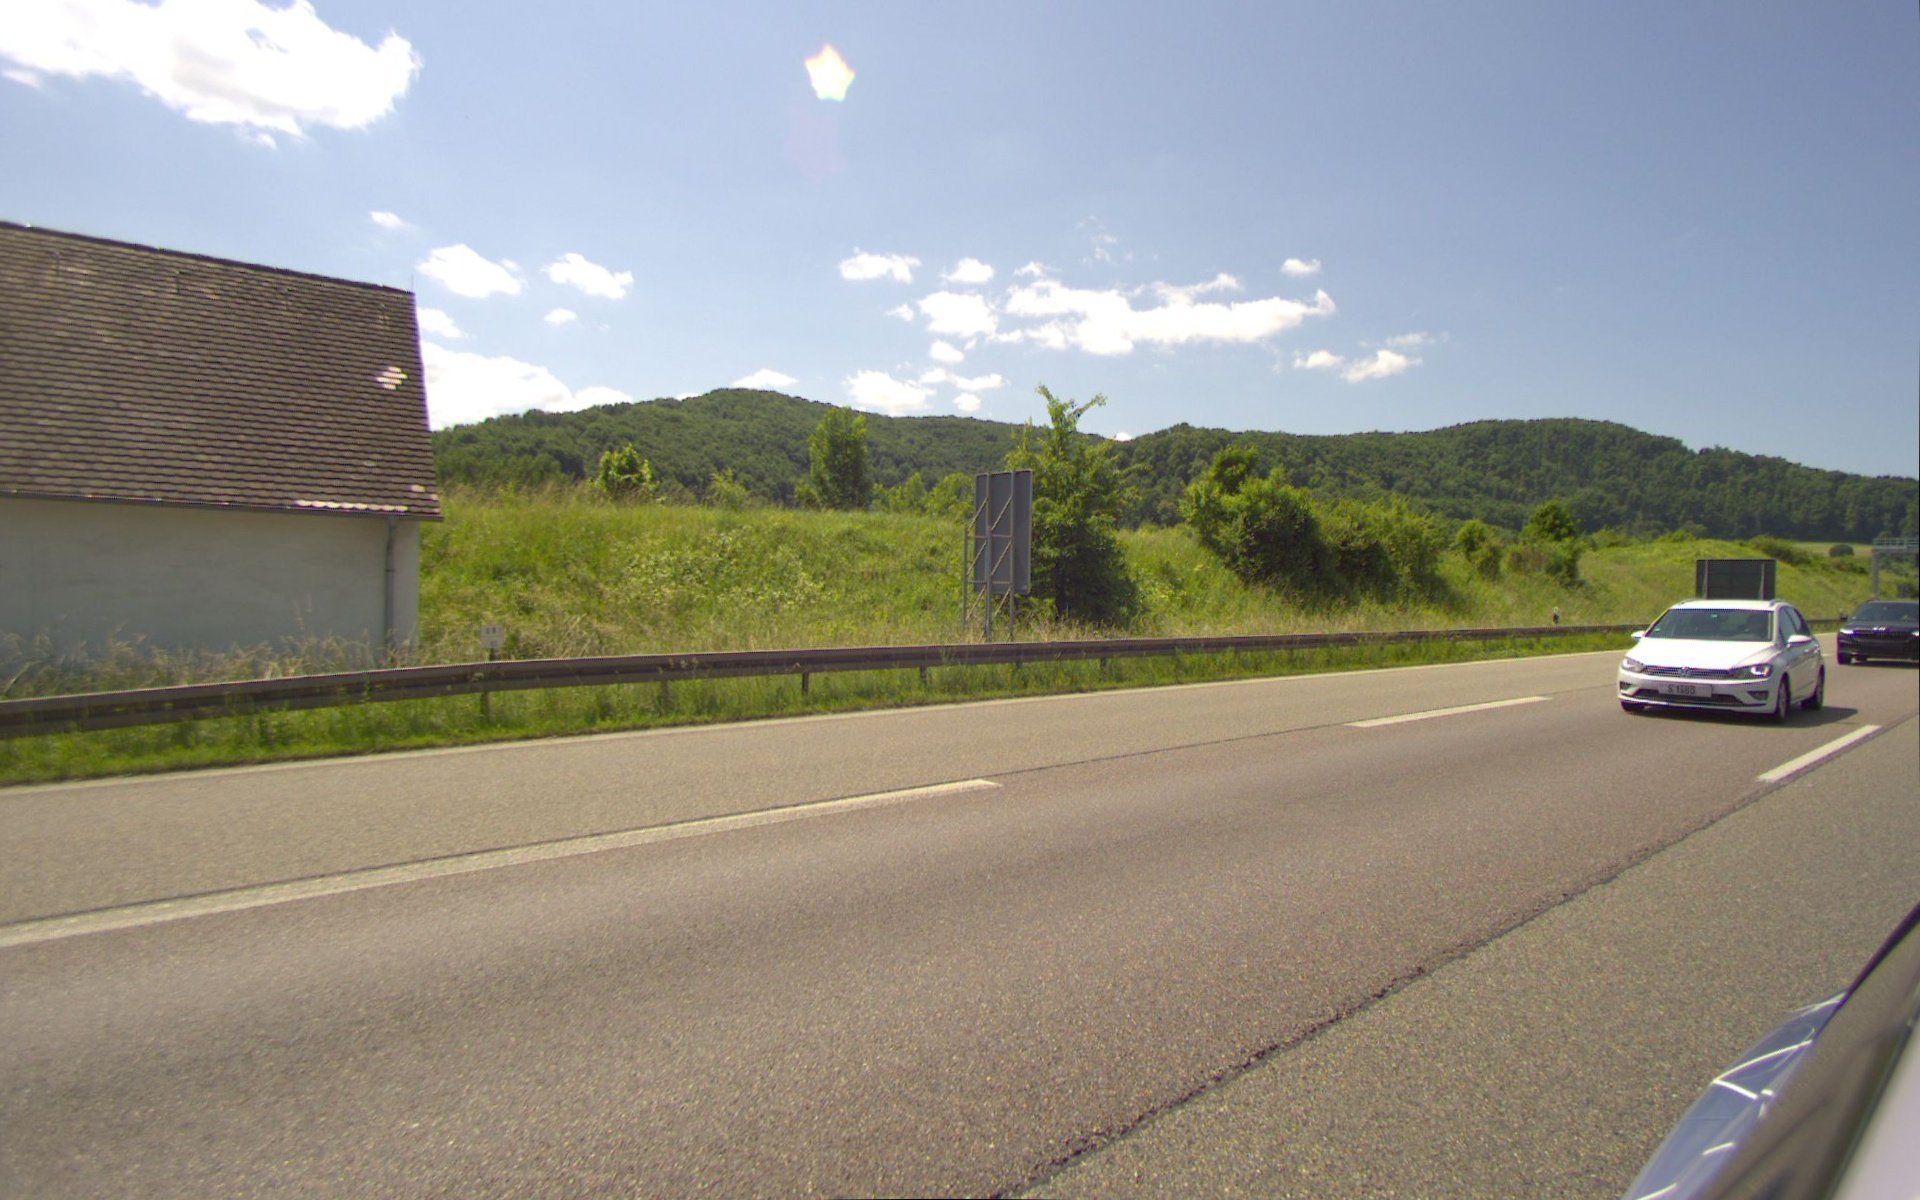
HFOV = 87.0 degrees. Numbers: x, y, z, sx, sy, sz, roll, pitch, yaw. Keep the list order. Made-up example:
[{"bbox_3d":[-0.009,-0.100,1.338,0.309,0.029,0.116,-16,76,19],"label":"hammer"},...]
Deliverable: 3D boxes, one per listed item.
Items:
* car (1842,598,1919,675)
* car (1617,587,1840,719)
[{"bbox_3d":[24.180,0.883,25.799,4.096,1.794,1.893,0,1,-40],"label":"car"},{"bbox_3d":[10.716,0.617,14.012,3.985,1.560,1.775,0,0,-42],"label":"car"}]
